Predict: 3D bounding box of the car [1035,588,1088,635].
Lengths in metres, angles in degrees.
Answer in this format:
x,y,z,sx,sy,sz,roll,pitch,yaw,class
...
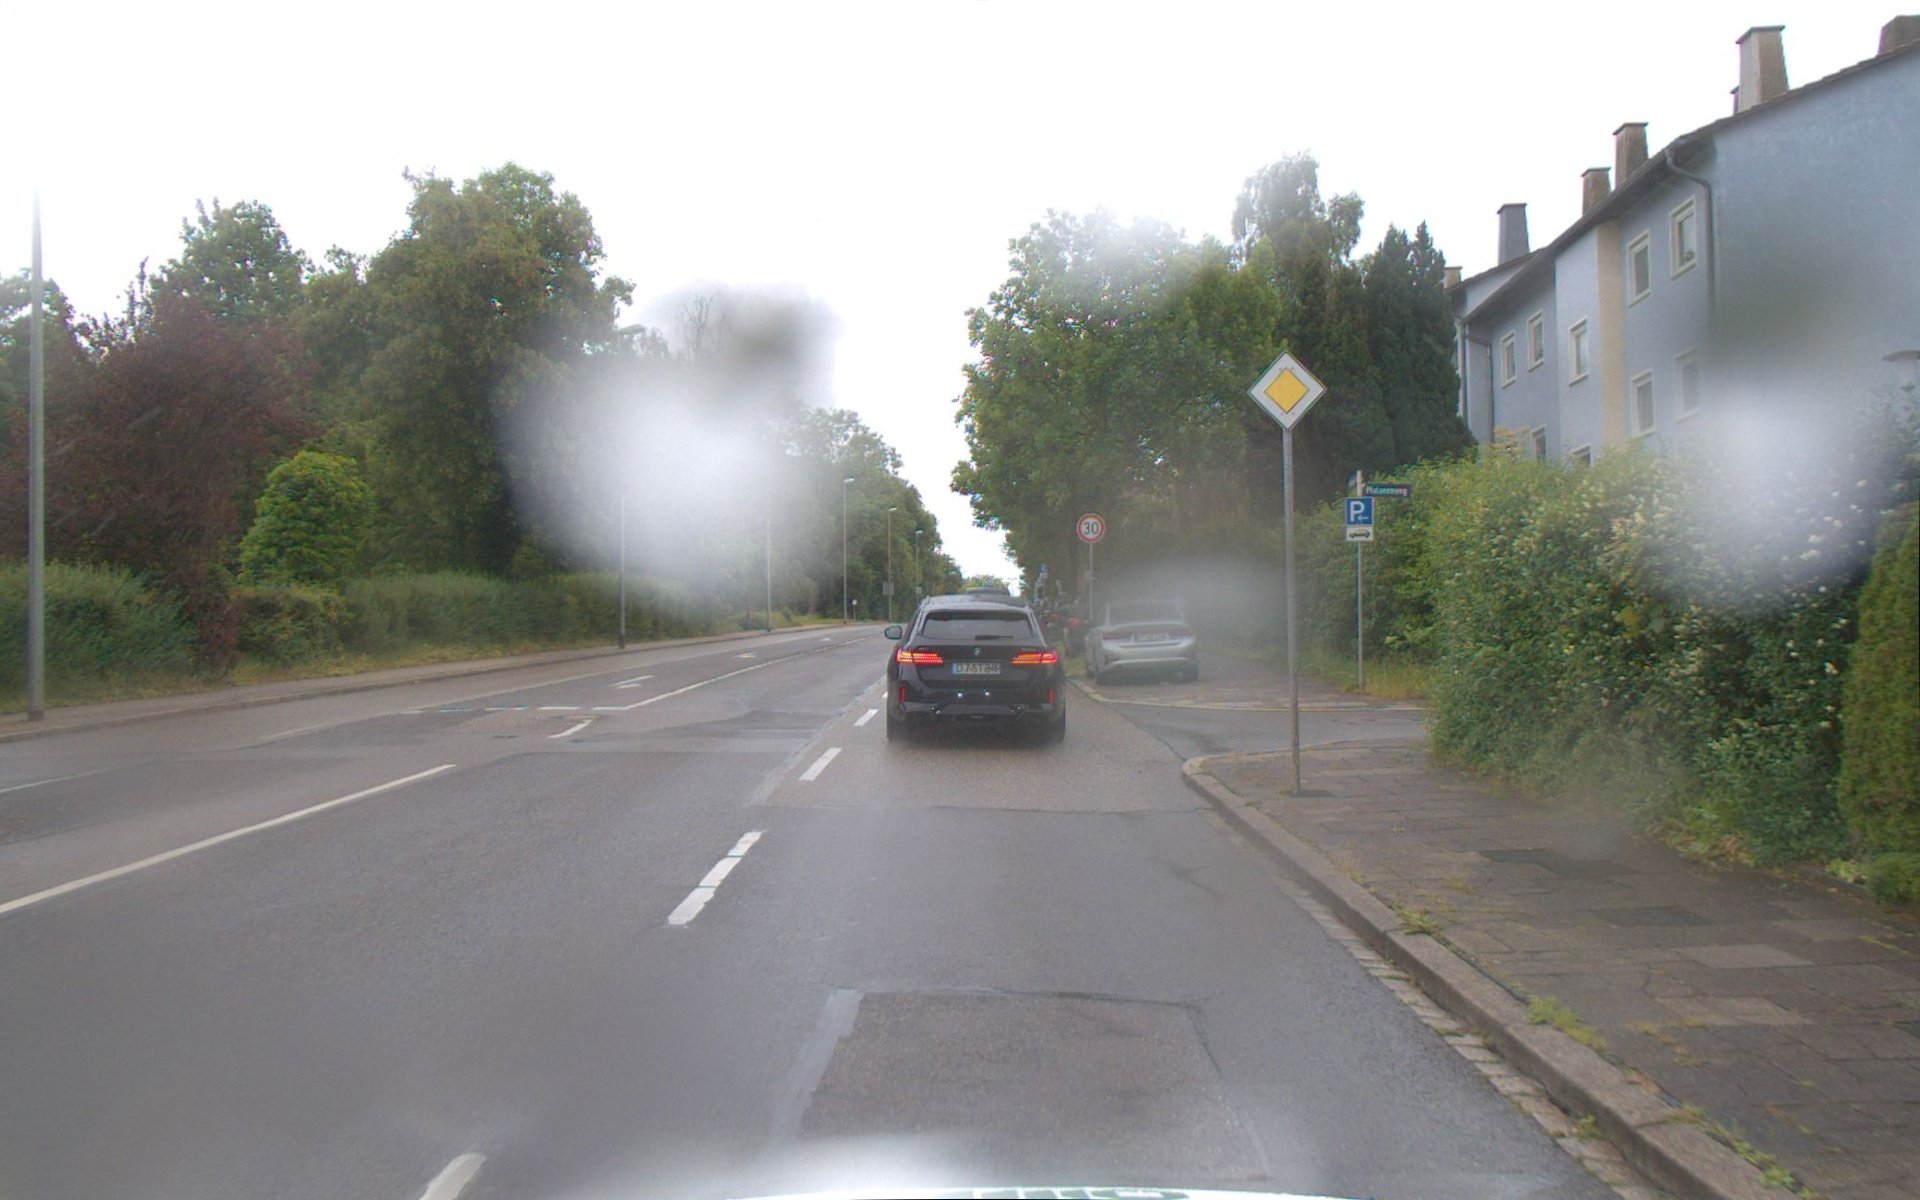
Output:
x,y,z,sx,sy,sz,roll,pitch,yaw,class
3.403,0.352,55.802,1.557,1.512,3.562,-1,0,0,car

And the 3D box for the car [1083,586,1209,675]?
x,y,z,sx,sy,sz,roll,pitch,yaw,class
3.269,0.495,29.885,1.895,1.467,4.409,0,1,2,car

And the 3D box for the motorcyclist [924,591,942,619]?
x,y,z,sx,sy,sz,roll,pitch,yaw,class
-1.555,0.287,95.215,1.018,1.595,0.855,1,0,-1,motorcyclist

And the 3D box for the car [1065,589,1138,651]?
x,y,z,sx,sy,sz,roll,pitch,yaw,class
3.569,0.473,42.185,1.557,1.486,3.562,-1,0,0,car

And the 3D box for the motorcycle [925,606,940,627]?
x,y,z,sx,sy,sz,roll,pitch,yaw,class
-1.573,0.946,95.151,0.858,1.144,2.740,1,0,-1,motorcycle

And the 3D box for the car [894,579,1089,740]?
x,y,z,sx,sy,sz,roll,pitch,yaw,class
0.310,0.558,18.119,1.858,1.515,4.000,2,1,0,car

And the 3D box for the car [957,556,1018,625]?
x,y,z,sx,sy,sz,roll,pitch,yaw,class
0.762,-0.297,47.611,1.596,1.865,4.000,-1,1,-1,car
